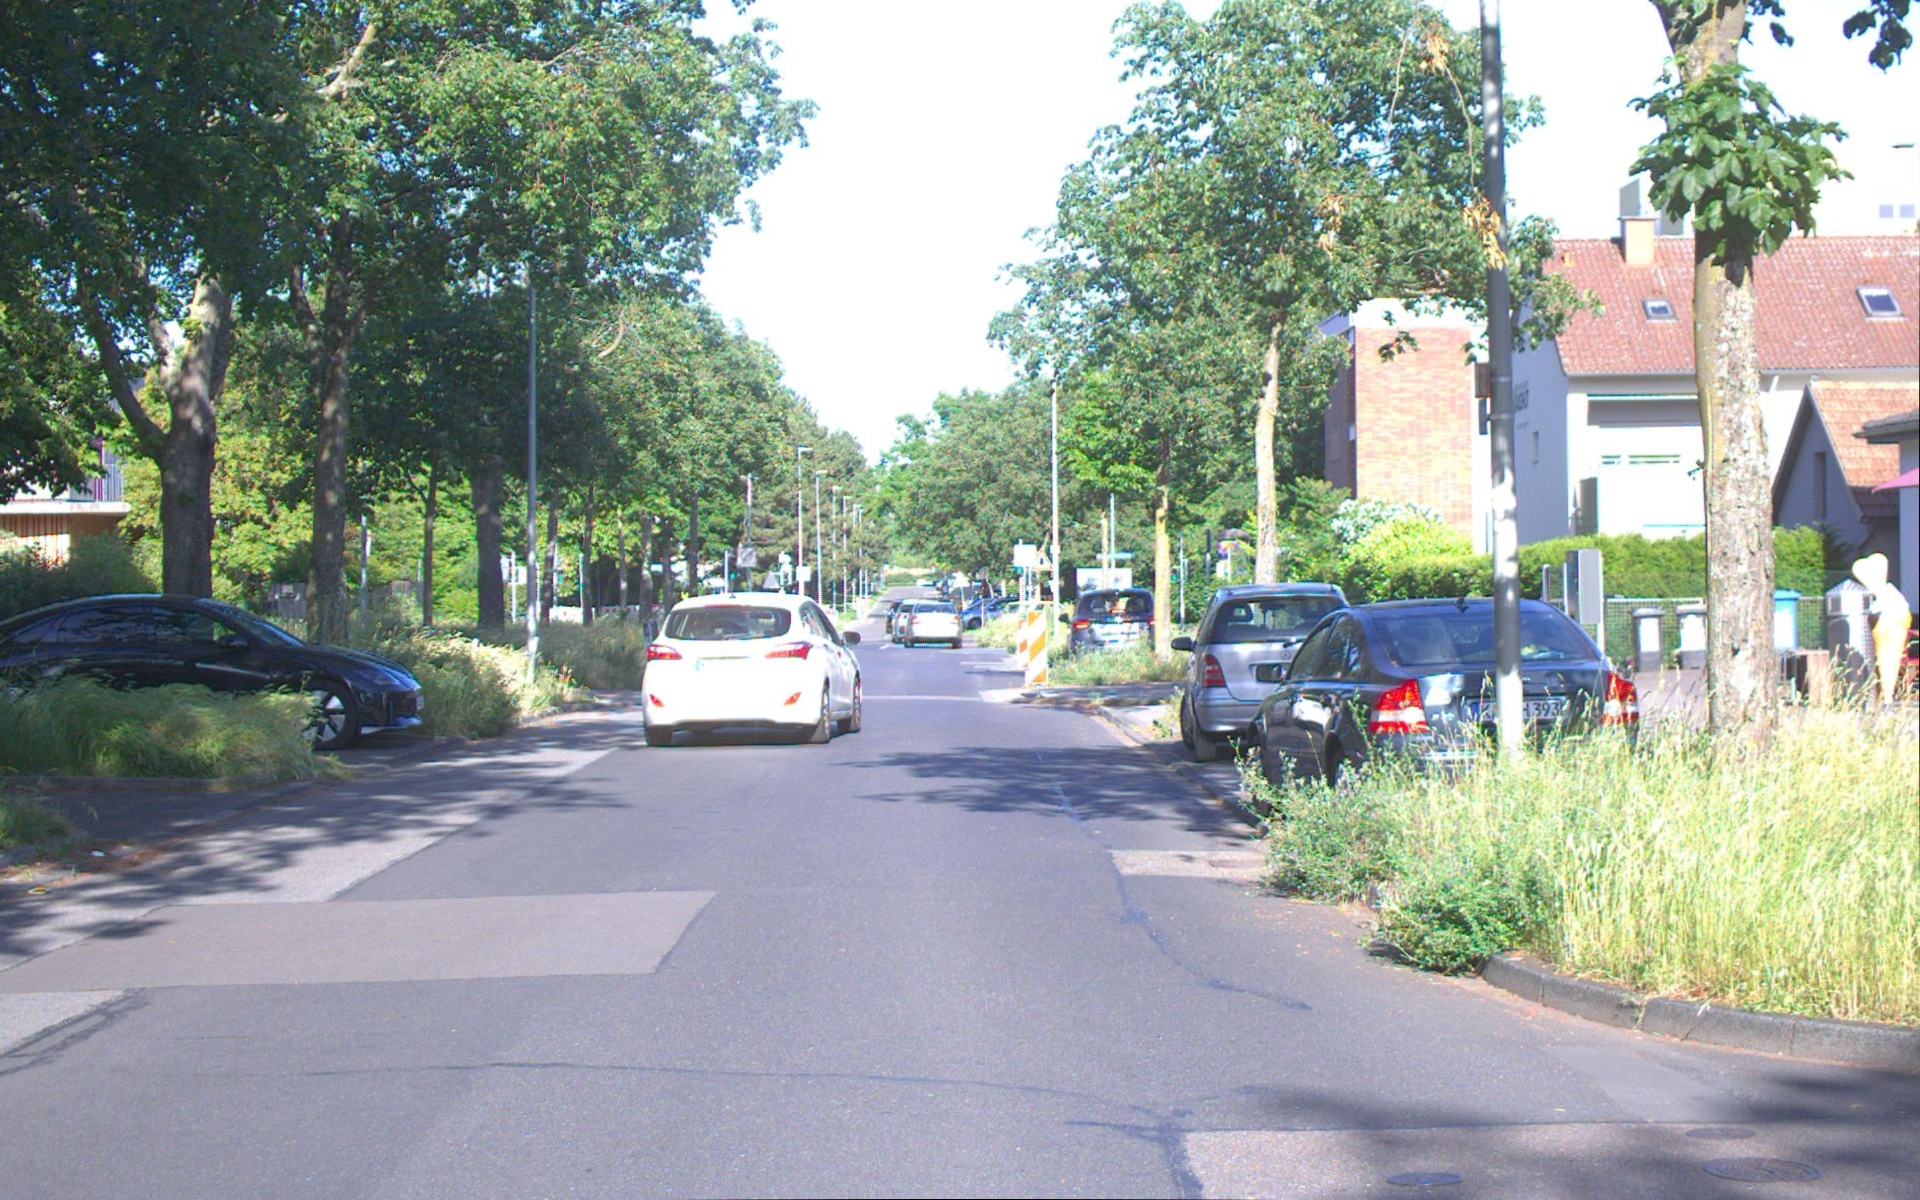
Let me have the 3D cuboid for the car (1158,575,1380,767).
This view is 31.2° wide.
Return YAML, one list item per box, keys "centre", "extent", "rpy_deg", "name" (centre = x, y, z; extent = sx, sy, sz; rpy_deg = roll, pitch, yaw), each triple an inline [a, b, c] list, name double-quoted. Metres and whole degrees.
- centre: [2.842, 0.632, 32.414]
  extent: [1.610, 1.616, 4.381]
  rpy_deg: [3, 0, 0]
  name: "car"

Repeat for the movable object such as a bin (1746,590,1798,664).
- centre: [11.691, 0.390, 49.498]
  extent: [0.493, 1.028, 0.747]
  rpy_deg: [-3, 0, -2]
  name: "movable object such as a bin"

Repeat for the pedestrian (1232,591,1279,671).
- centre: [7.570, 0.788, 88.090]
  extent: [1.112, 2.007, 0.922]
  rpy_deg: [0, 0, 0]
  name: "pedestrian"

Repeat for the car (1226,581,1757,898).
- centre: [3.039, 0.750, 20.669]
  extent: [1.993, 1.616, 4.382]
  rpy_deg: [3, 0, -6]
  name: "car"

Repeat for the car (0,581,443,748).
- centre: [-7.448, 0.625, 34.067]
  extent: [4.367, 1.526, 1.808]
  rpy_deg: [1, 0, -1]
  name: "car"

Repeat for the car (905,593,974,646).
- centre: [-0.633, 0.591, 105.501]
  extent: [1.993, 1.503, 3.658]
  rpy_deg: [3, 0, -1]
  name: "car"

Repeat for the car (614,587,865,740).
- centre: [-2.157, 0.595, 34.819]
  extent: [1.994, 1.450, 4.224]
  rpy_deg: [0, 0, 4]
  name: "car"

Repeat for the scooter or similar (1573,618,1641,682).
- centre: [8.974, 0.687, 47.712]
  extent: [0.368, 0.855, 1.412]
  rpy_deg: [0, 0, -14]
  name: "scooter or similar"

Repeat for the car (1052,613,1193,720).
- centre: [2.763, 1.139, 59.334]
  extent: [1.993, 1.722, 4.000]
  rpy_deg: [-2, -1, -3]
  name: "car"

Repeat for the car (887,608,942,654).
- centre: [-1.597, 1.084, 120.032]
  extent: [1.816, 1.503, 3.658]
  rpy_deg: [3, 0, -1]
  name: "car"

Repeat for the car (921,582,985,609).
- centre: [-0.459, -0.283, 220.044]
  extent: [3.986, 1.744, 2.000]
  rpy_deg: [0, 0, -3]
  name: "car"

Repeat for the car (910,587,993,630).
- centre: [-0.441, 0.423, 167.766]
  extent: [3.986, 2.007, 2.000]
  rpy_deg: [1, -1, -2]
  name: "car"

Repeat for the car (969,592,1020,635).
- centre: [1.270, 0.507, 127.390]
  extent: [1.733, 1.503, 3.658]
  rpy_deg: [3, 0, -1]
  name: "car"
